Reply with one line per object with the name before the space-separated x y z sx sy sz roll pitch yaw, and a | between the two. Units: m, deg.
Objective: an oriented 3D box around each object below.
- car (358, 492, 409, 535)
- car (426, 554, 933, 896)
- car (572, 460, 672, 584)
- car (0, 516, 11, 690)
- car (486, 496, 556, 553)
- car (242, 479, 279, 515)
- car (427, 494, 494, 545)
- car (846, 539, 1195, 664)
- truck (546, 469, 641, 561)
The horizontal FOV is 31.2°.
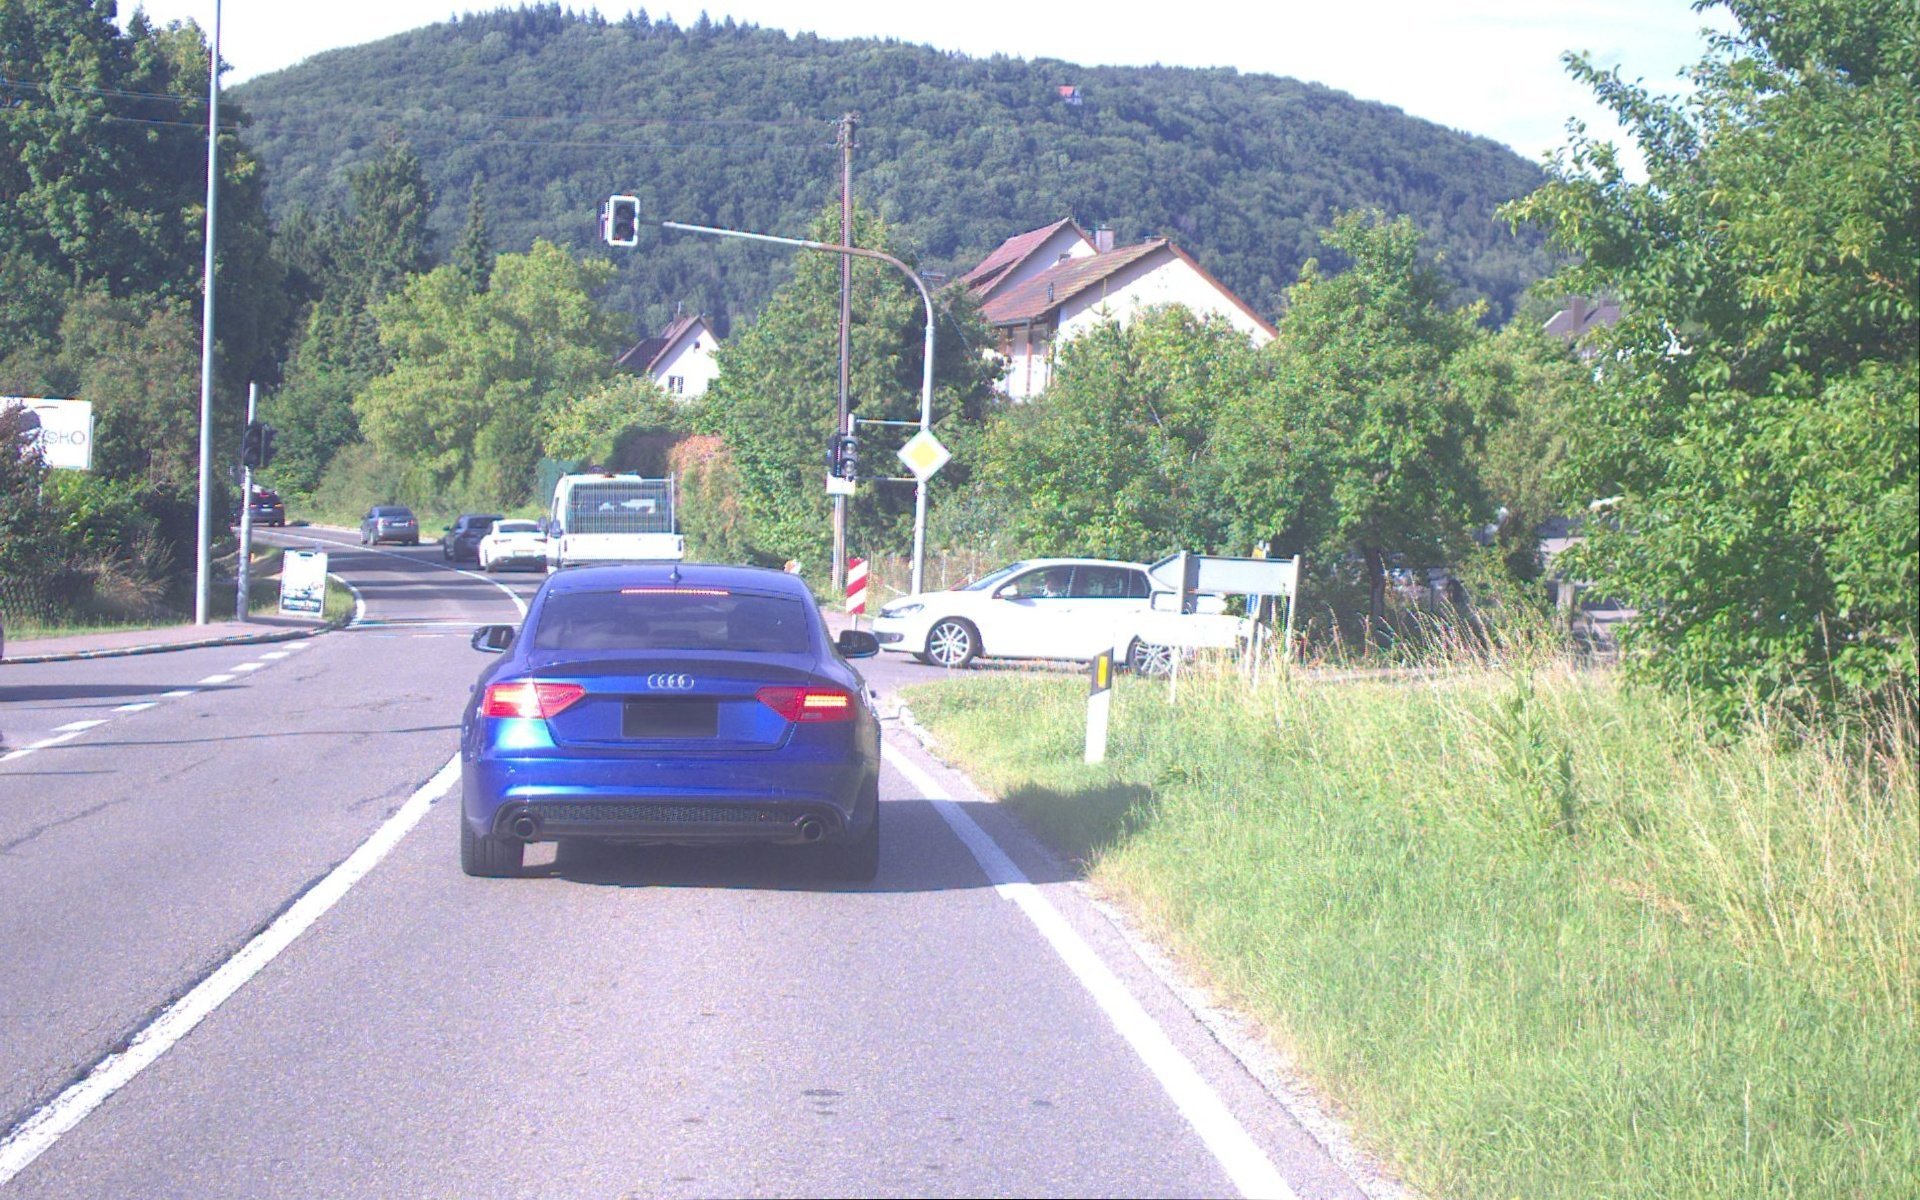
car | -21.180 -3.153 126.359 1.697 1.485 3.528 1 0 -8
car | -1.160 0.496 15.975 1.795 1.383 4.000 0 0 4
car | -6.202 -1.410 63.340 1.746 2.188 4.001 1 0 -5
car | -11.074 -0.003 31.896 3.988 1.634 1.751 1 0 6
car | -12.029 -2.039 94.096 1.697 1.485 3.528 1 0 -10
car | -32.549 -4.784 160.053 1.625 1.571 3.680 1 0 -11
car | -15.317 -2.464 105.348 1.697 1.485 3.528 1 0 -14
car | 0.748 0.015 43.636 4.043 1.503 1.856 1 0 -15
truck | -8.243 -1.856 76.926 1.697 1.947 5.924 1 0 -10
